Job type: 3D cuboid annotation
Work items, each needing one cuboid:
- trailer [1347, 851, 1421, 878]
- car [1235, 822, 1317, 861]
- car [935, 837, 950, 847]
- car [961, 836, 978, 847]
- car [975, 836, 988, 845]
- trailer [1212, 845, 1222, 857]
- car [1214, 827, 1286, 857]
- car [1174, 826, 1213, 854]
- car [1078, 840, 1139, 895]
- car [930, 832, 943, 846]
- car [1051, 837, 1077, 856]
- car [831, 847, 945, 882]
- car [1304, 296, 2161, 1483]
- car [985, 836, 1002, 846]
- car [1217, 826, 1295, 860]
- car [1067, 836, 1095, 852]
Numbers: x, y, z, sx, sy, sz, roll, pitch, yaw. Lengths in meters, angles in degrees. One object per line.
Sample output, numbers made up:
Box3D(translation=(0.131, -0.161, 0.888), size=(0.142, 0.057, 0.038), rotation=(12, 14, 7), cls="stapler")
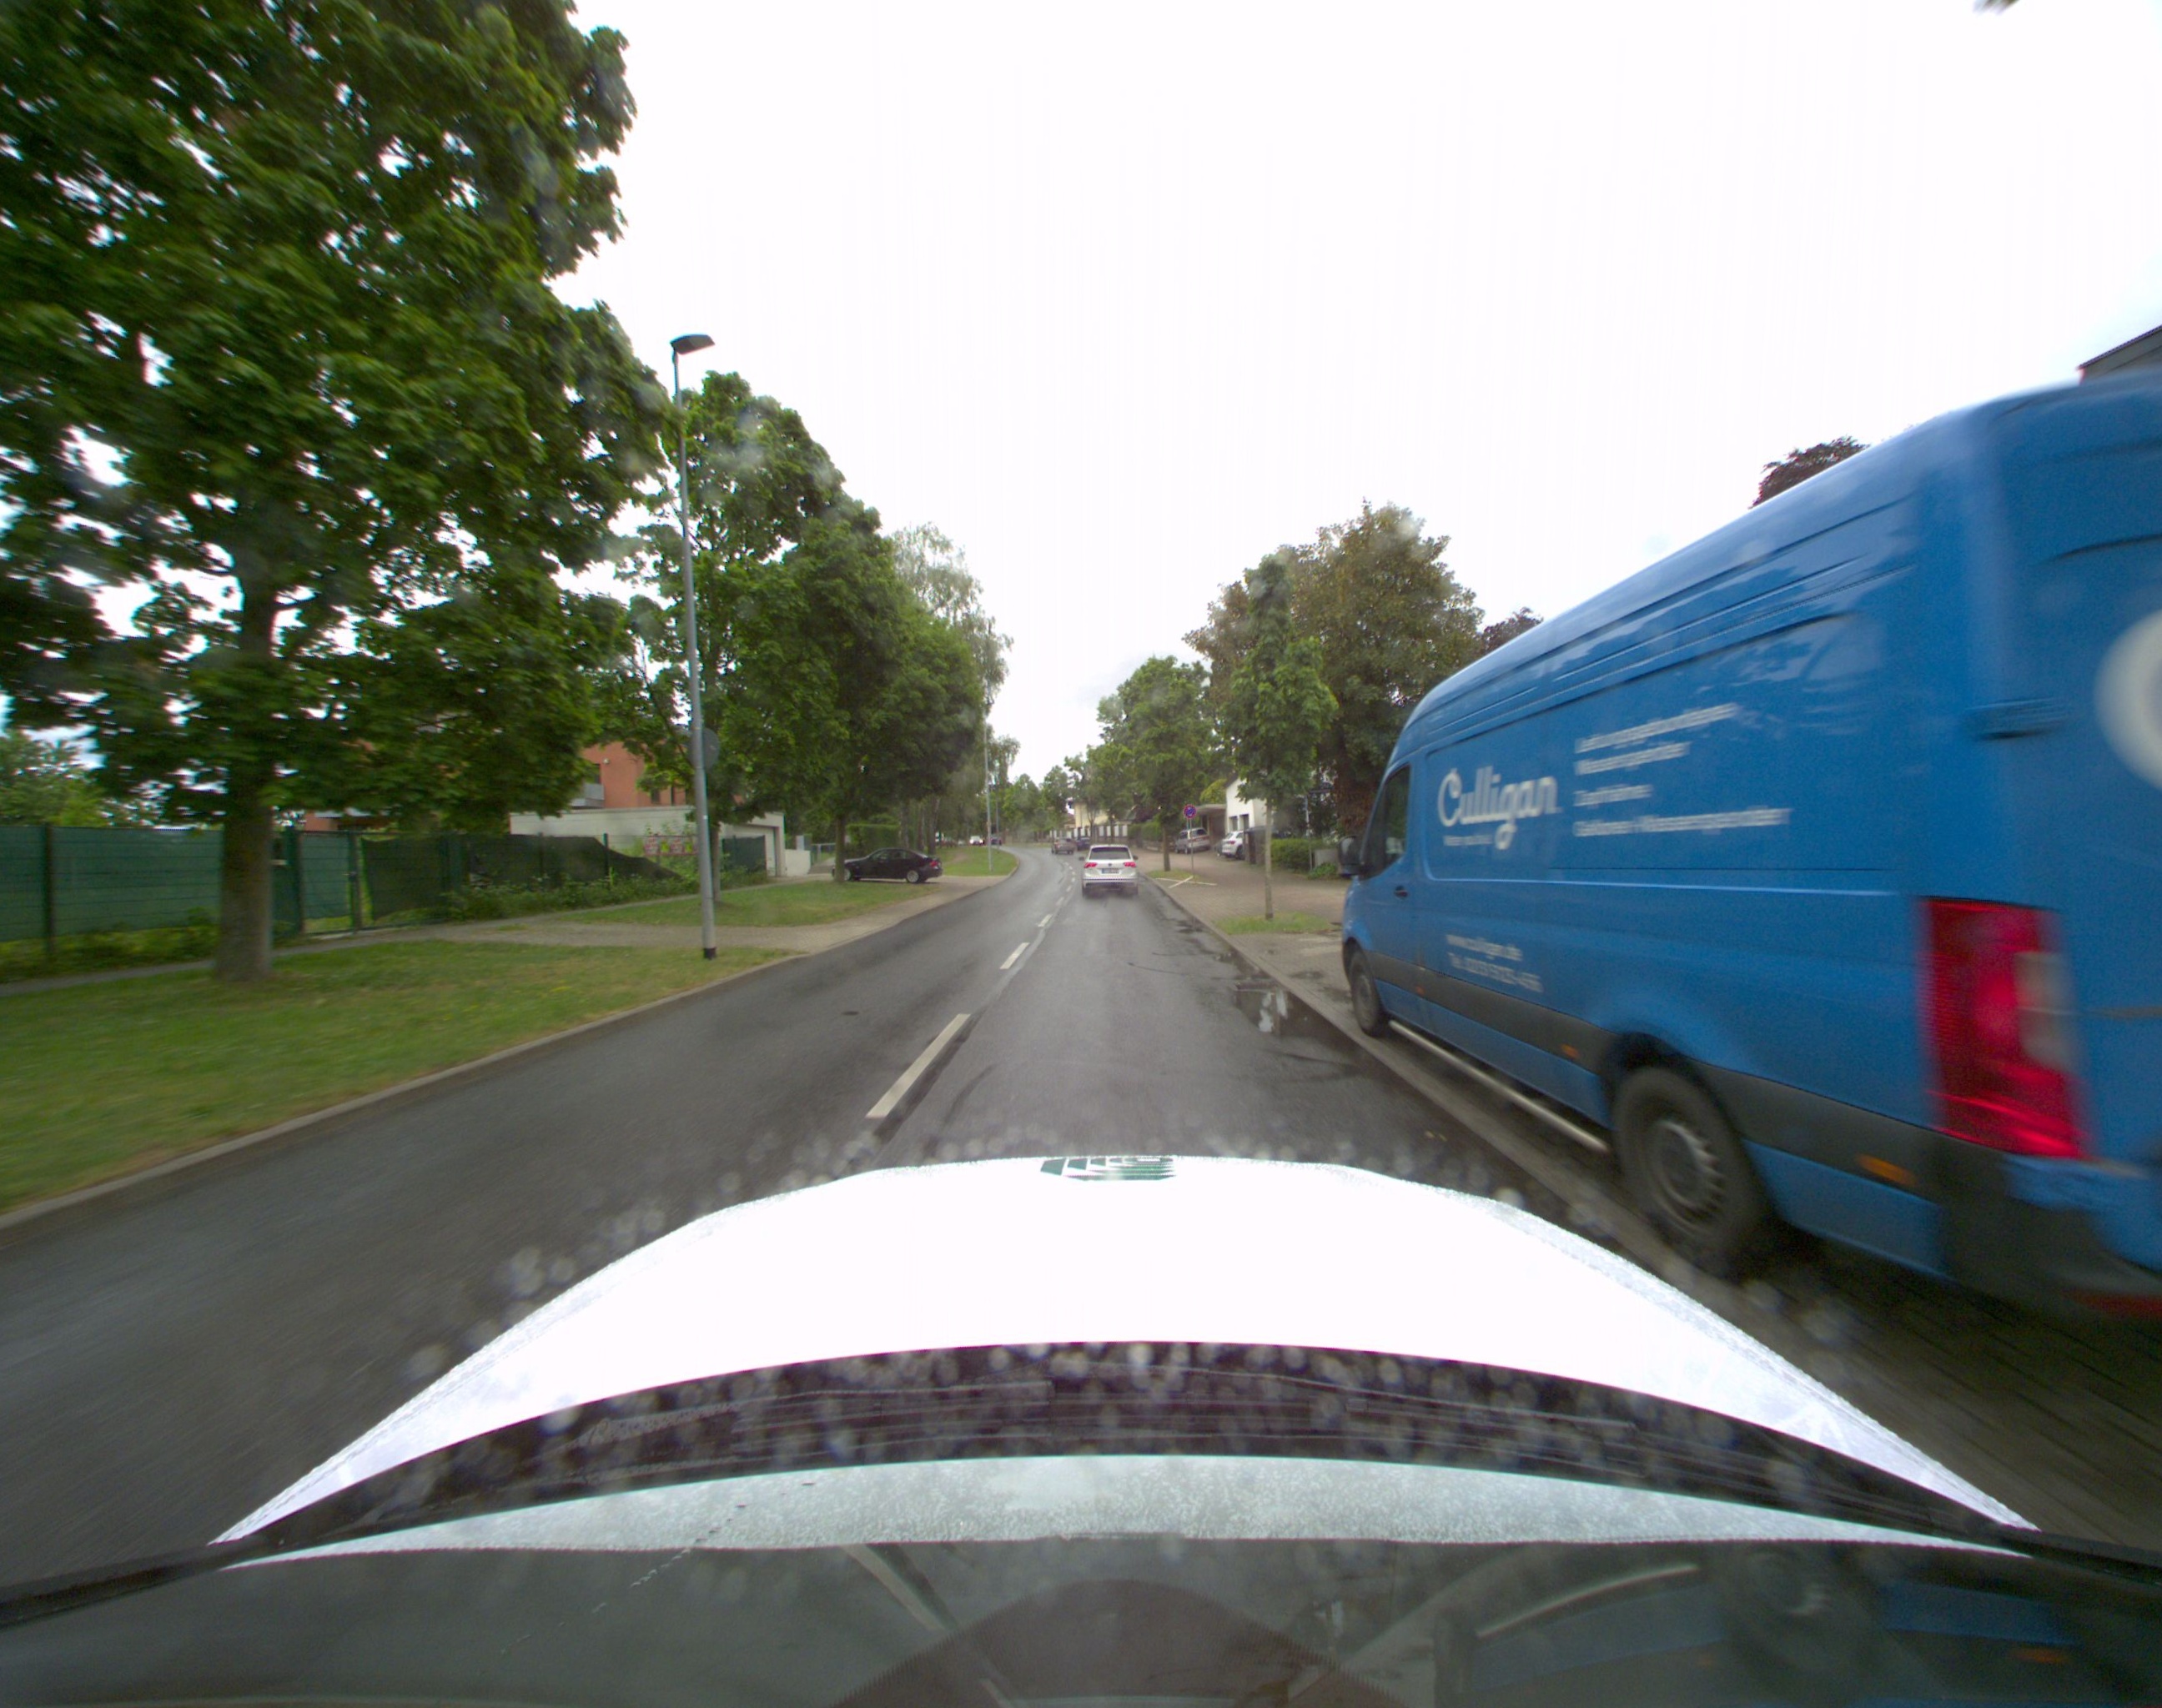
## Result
Box3D(translation=(10.109, 0.345, 27.250), size=(2.033, 0.883, 1.366), rotation=(-1, 0, 4), cls="trailer")
Box3D(translation=(10.474, -0.696, 43.850), size=(3.977, 2.013, 1.828), rotation=(-1, 2, -3), cls="car")
Box3D(translation=(-21.709, -1.865, 127.734), size=(1.772, 1.427, 3.976), rotation=(-1, 1, -18), cls="car")
Box3D(translation=(-16.013, -1.814, 116.692), size=(1.772, 1.427, 3.976), rotation=(-1, 1, -18), cls="car")
Box3D(translation=(-17.106, -2.353, 139.939), size=(1.645, 1.427, 3.979), rotation=(-1, 1, -16), cls="car")
Box3D(translation=(8.721, -0.183, 52.251), size=(0.416, 0.756, 1.367), rotation=(-1, 0, 2), cls="trailer")
Box3D(translation=(10.180, -0.751, 49.176), size=(3.977, 1.708, 1.828), rotation=(-1, 2, -3), cls="car")
Box3D(translation=(8.231, -1.076, 59.936), size=(1.820, 1.703, 3.995), rotation=(-10, 3, -3), cls="car")
Box3D(translation=(0.911, 0.400, 27.322), size=(1.858, 1.650, 4.002), rotation=(-2, 0, 1), cls="car")
Box3D(translation=(-25.956, -2.660, 145.980), size=(1.772, 2.386, 3.976), rotation=(-1, 1, -18), cls="car")
Box3D(translation=(-1.523, -0.646, 72.906), size=(1.769, 1.551, 3.987), rotation=(-2, 0, -9), cls="car")
Box3D(translation=(-7.898, 0.431, 33.496), size=(4.197, 1.363, 1.692), rotation=(-1, 0, 5), cls="car")
Box3D(translation=(3.050, 0.012, 4.608), size=(1.986, 2.586, 5.634), rotation=(-4, 0, 1), cls="car")
Box3D(translation=(-13.193, -1.918, 122.677), size=(1.647, 1.427, 3.975), rotation=(-1, 1, -19), cls="car")
Box3D(translation=(9.869, -0.640, 46.144), size=(3.977, 1.811, 1.828), rotation=(-1, 2, -3), cls="car")
Box3D(translation=(-0.036, -0.970, 78.676), size=(1.647, 1.427, 3.976), rotation=(-1, 1, -18), cls="car")
